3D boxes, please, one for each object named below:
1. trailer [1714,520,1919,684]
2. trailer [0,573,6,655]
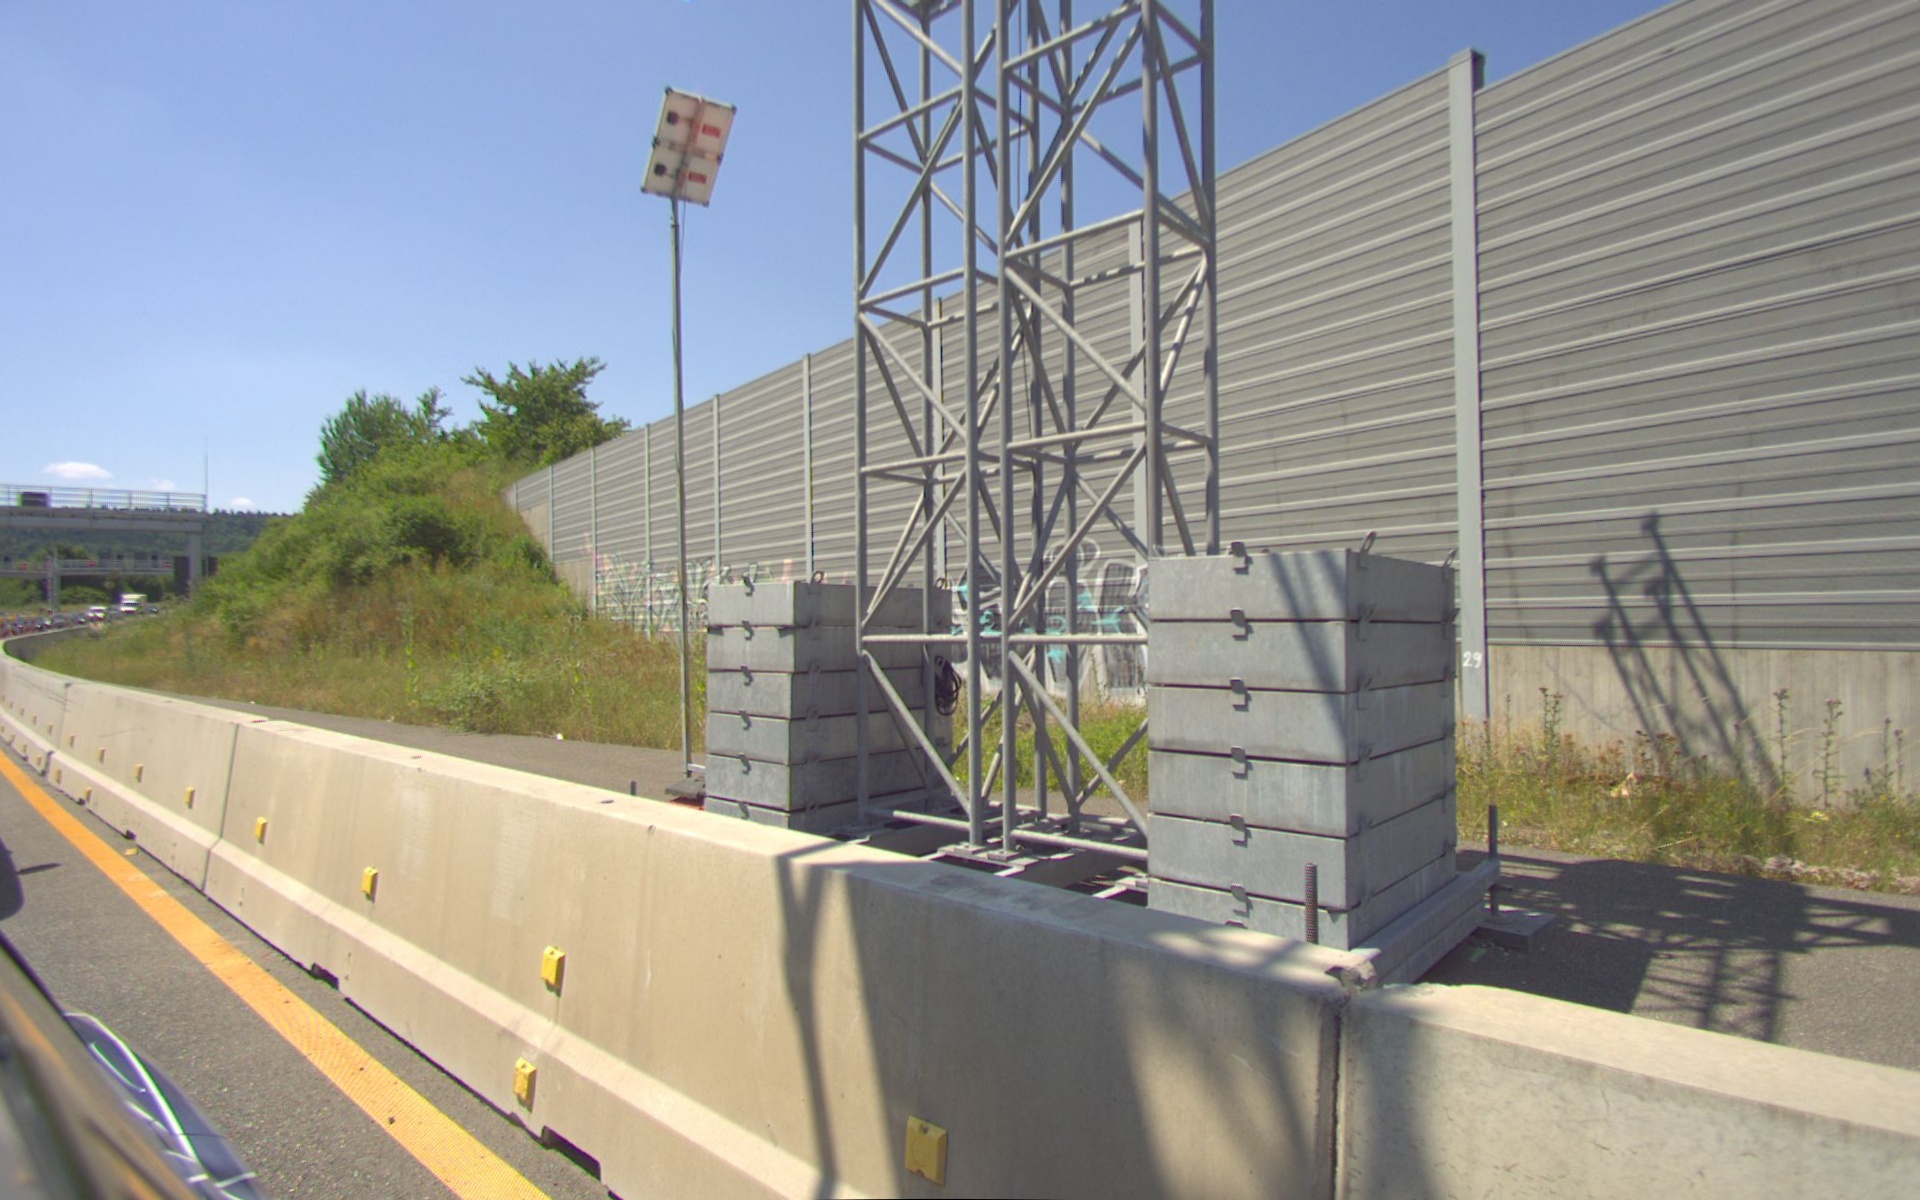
[{"bbox_3d":[27.783,0.001,25.462,3.496,4.302,13.953,-1,0,-27],"label":"trailer"},{"bbox_3d":[-40.119,0.463,39.045,3.187,3.695,17.456,-2,0,-38],"label":"trailer"}]
